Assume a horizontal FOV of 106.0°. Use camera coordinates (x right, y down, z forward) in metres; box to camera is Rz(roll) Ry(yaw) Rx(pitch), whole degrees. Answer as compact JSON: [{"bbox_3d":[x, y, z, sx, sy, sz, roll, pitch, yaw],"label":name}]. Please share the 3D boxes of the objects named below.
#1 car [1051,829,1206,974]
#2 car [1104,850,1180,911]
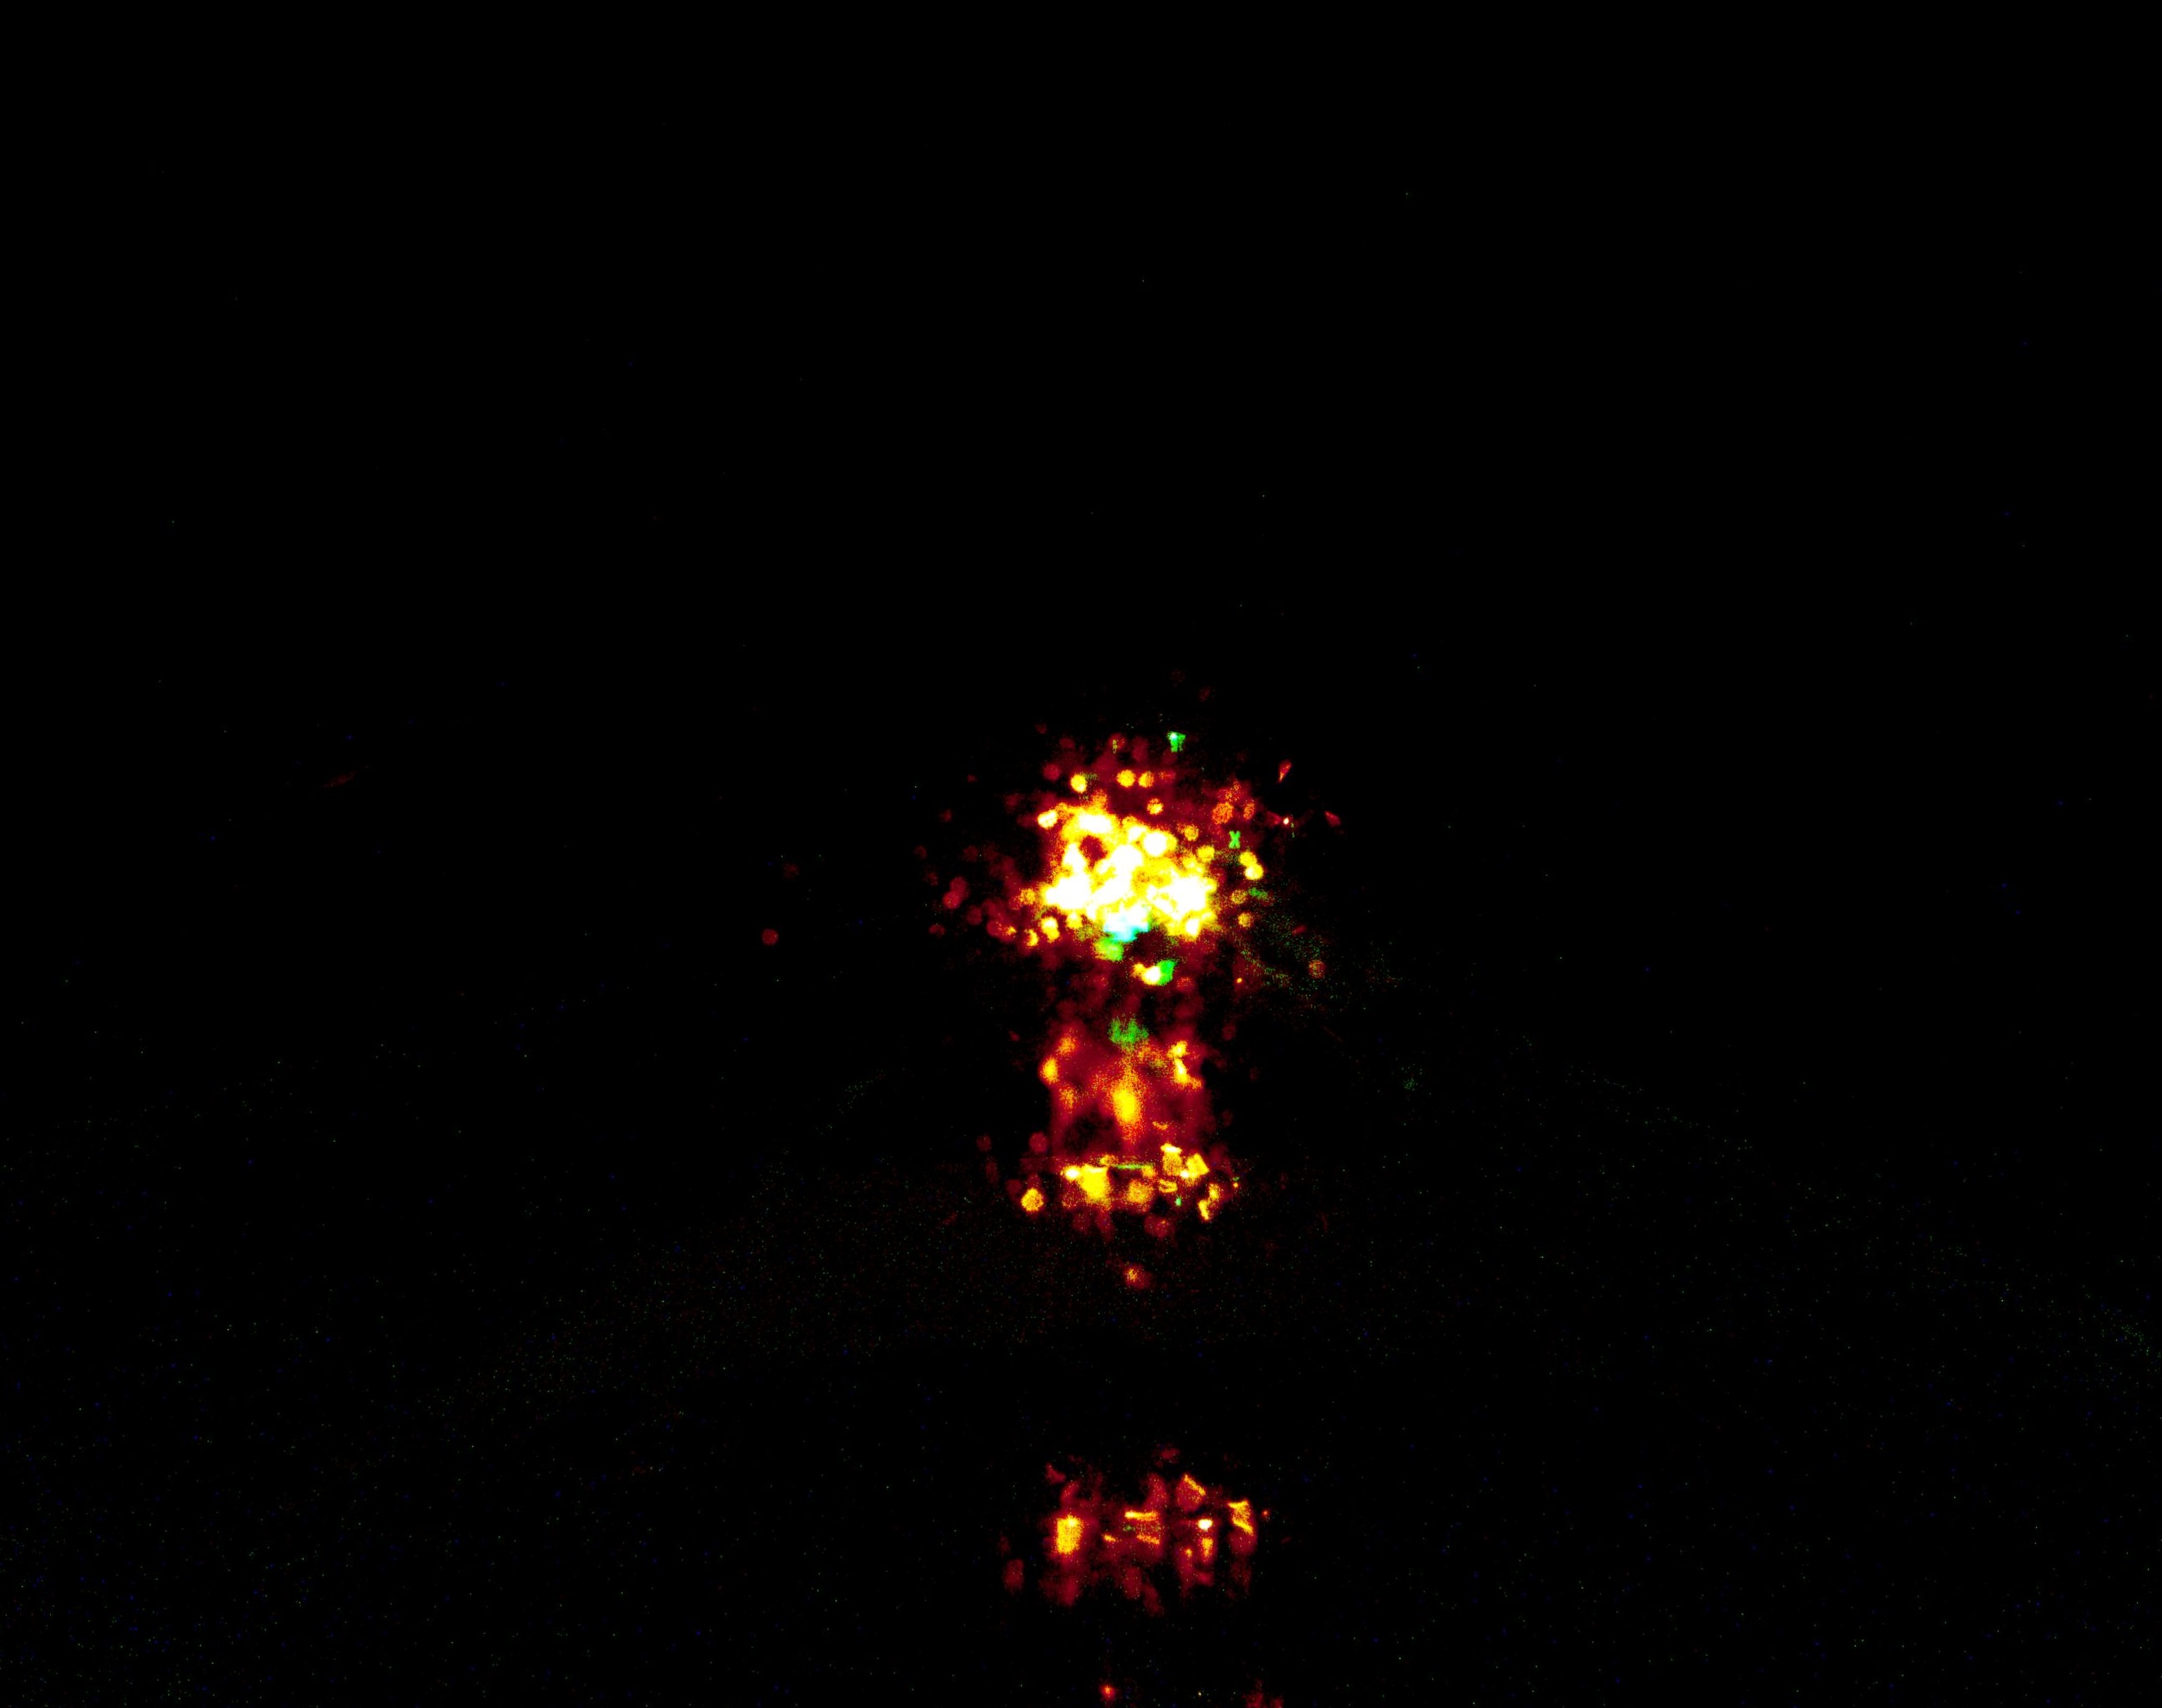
[{"bbox_3d":[0.698,0.541,11.581,1.783,1.681,3.909,-1,1,4],"label":"car"},{"bbox_3d":[1.652,0.618,21.210,1.735,1.415,4.007,-2,0,6],"label":"car"}]
